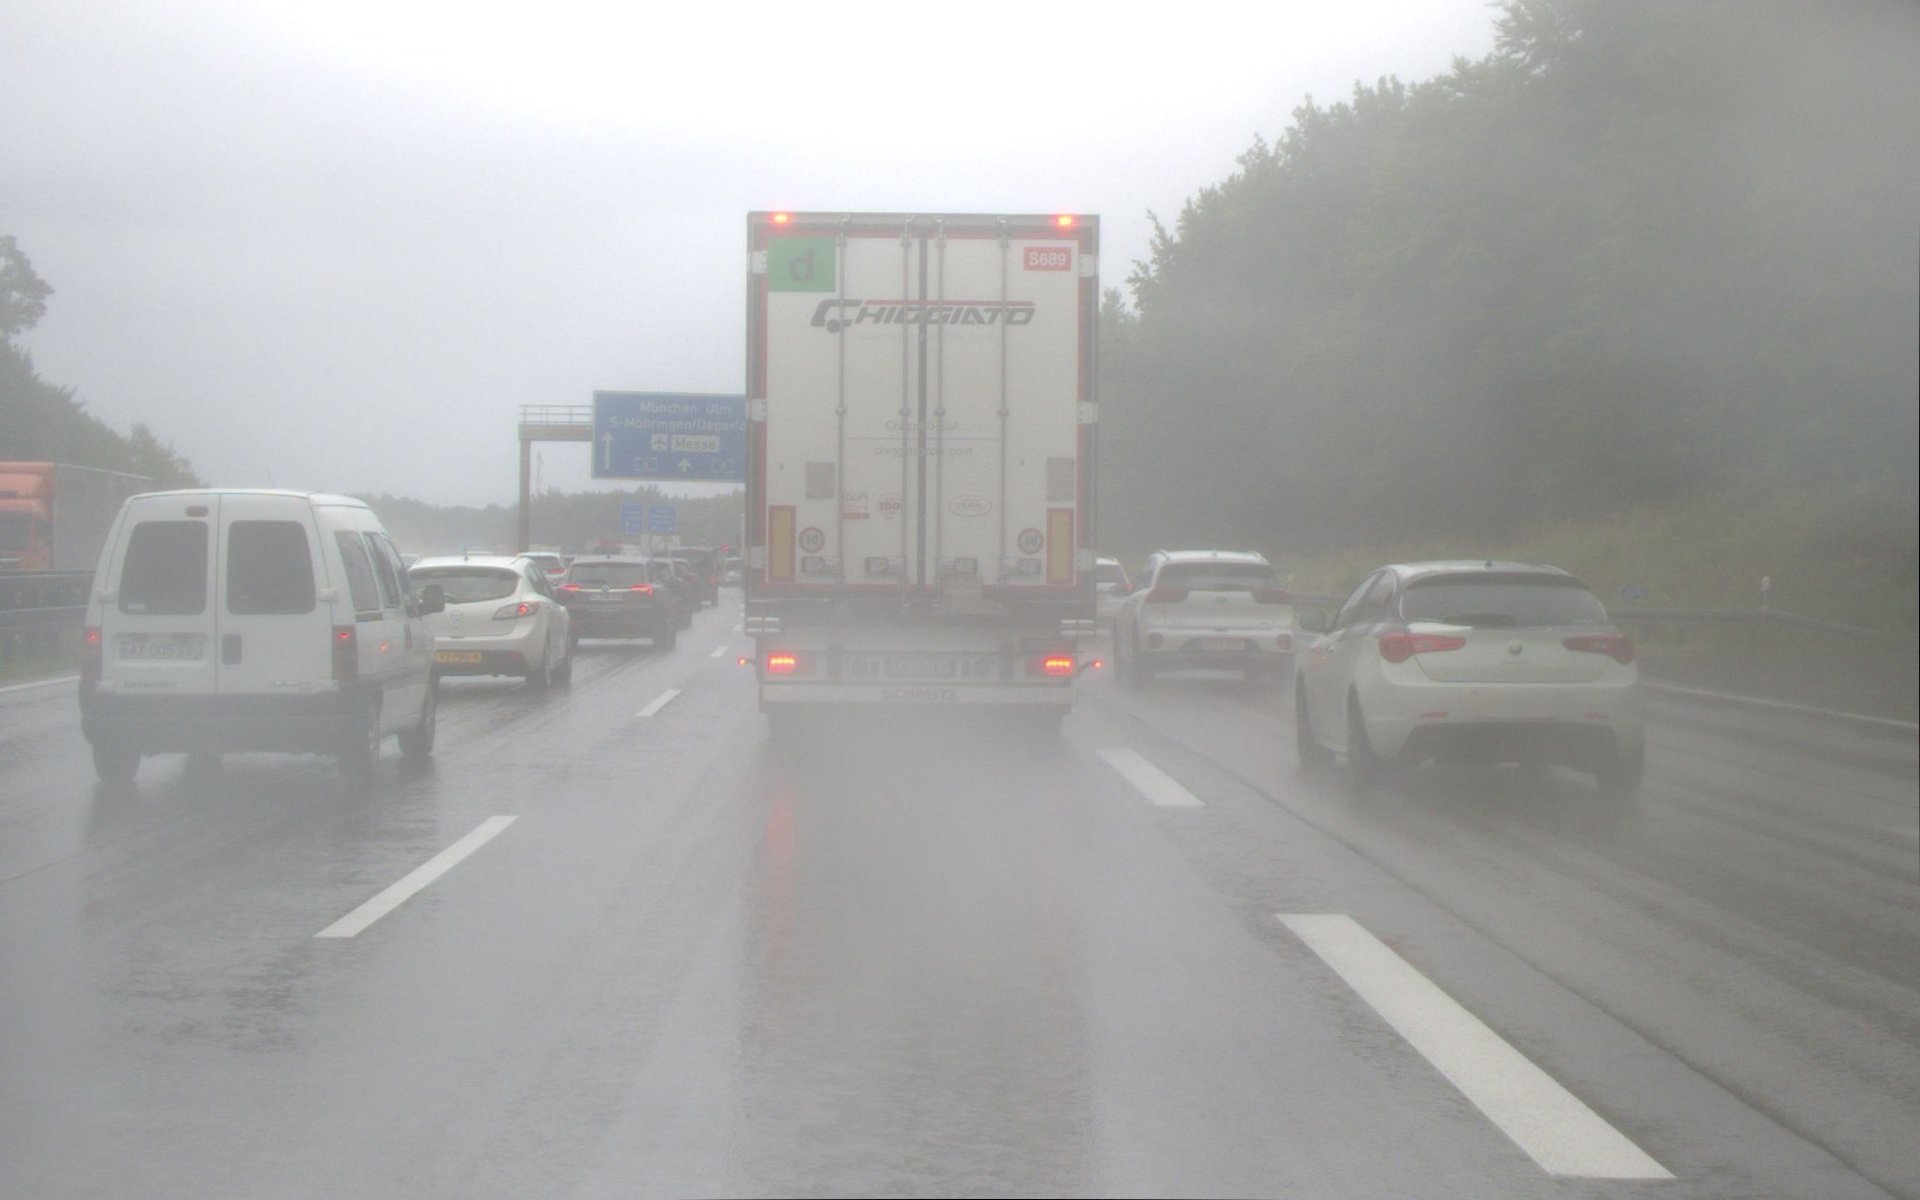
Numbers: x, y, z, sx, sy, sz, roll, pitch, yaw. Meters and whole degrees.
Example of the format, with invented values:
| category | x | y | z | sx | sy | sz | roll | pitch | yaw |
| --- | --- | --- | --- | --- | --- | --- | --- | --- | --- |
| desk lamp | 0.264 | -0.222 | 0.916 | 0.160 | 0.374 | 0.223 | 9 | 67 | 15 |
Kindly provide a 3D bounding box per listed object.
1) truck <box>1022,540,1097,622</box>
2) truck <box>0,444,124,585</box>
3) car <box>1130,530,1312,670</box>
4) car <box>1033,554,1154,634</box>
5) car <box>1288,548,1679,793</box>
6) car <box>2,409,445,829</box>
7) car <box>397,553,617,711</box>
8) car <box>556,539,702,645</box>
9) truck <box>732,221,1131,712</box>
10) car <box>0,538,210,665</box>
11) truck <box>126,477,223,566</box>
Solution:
| category | x | y | z | sx | sy | sz | roll | pitch | yaw |
| --- | --- | --- | --- | --- | --- | --- | --- | --- | --- |
| truck | 3.675 | -0.744 | 127.963 | 2.589 | 2.931 | 6.456 | 1 | 1 | 0 |
| truck | -26.859 | -2.461 | 100.334 | 2.704 | 3.918 | 10.028 | 0 | 1 | -1 |
| car | 2.970 | -0.041 | 39.881 | 1.845 | 1.517 | 4.343 | 1 | 1 | 1 |
| car | 2.447 | -0.145 | 64.119 | 2.007 | 1.389 | 4.568 | 1 | 1 | -1 |
| car | 3.332 | 0.389 | 22.720 | 1.890 | 1.420 | 4.483 | 1 | 1 | 0 |
| car | -4.900 | 0.073 | 23.647 | 2.212 | 2.564 | 5.016 | 1 | 1 | -3 |
| car | -4.876 | 0.306 | 37.500 | 1.845 | 1.586 | 4.072 | 1 | 1 | 0 |
| car | -5.157 | -0.161 | 54.091 | 1.845 | 1.586 | 4.467 | 1 | 1 | 0 |
| truck | -0.289 | -1.016 | 30.700 | 2.872 | 3.550 | 11.302 | 1 | 0 | -1 |
| car | -10.941 | -0.029 | 43.239 | 2.090 | 1.499 | 4.755 | 0 | 1 | -2 |
| truck | -34.520 | -3.422 | 151.230 | 3.020 | 3.805 | 6.265 | 0 | 1 | -2 |
